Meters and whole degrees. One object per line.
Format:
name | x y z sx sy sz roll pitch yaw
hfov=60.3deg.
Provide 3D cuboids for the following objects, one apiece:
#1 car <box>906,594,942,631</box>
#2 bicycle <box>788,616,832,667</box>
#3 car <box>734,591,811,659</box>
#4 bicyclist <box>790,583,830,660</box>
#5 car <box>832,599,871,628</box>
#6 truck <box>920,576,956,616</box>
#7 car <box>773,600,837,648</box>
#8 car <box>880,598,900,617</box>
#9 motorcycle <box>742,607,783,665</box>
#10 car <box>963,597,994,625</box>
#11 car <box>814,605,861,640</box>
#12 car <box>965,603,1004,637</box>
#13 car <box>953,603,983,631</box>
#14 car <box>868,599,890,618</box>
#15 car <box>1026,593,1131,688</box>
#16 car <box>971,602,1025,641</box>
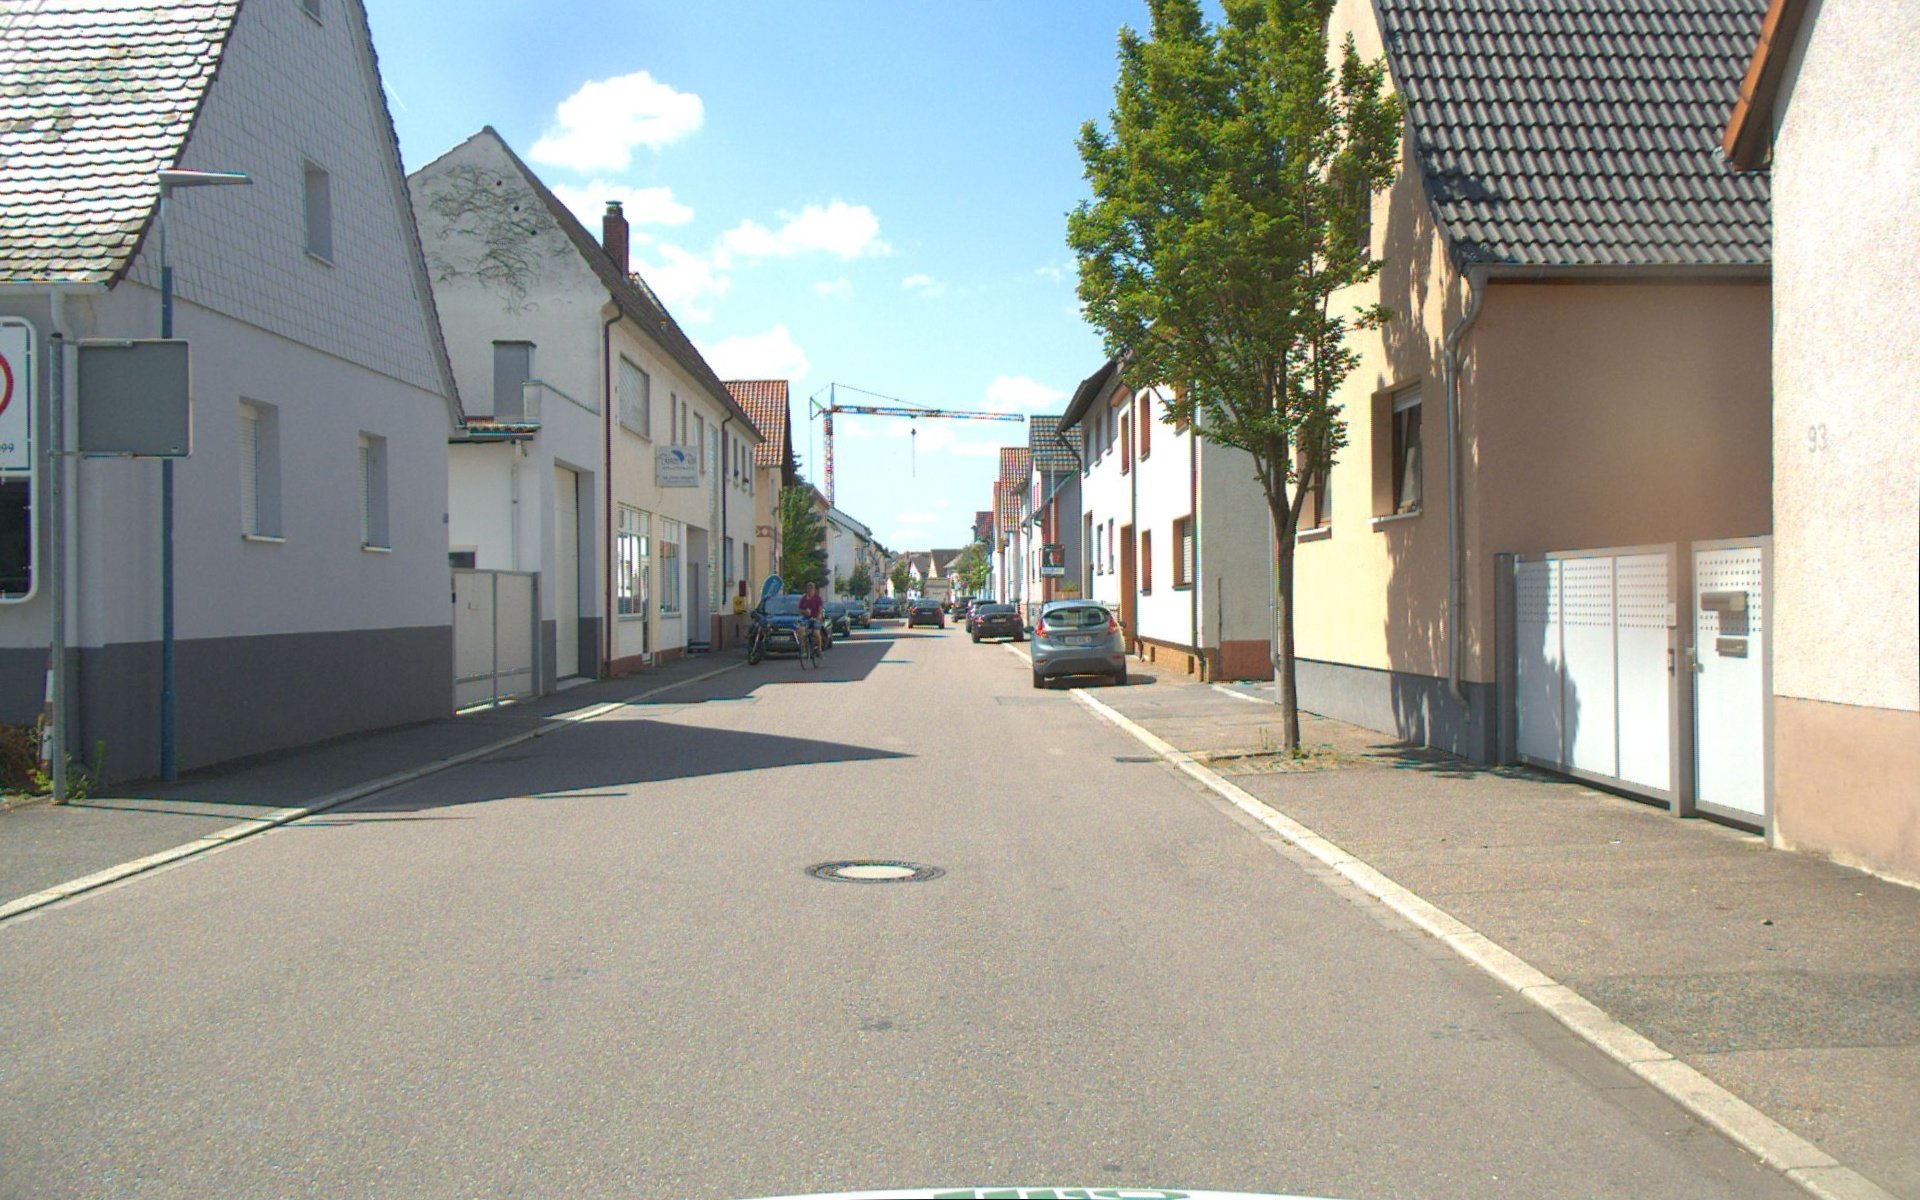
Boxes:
car | -1.848 0.625 84.472 1.747 1.784 3.998 -1 0 -2
bicycle | -3.295 0.901 36.469 0.727 1.066 1.940 0 0 2
car | -4.989 0.643 44.365 1.683 1.668 4.147 -2 0 -2
bicyclist | -3.298 0.465 36.421 0.731 1.665 0.957 0 0 2
car | -5.856 0.721 89.761 1.732 1.485 4.436 0 0 1
truck | -2.365 -0.388 173.148 3.311 3.933 13.919 -1 0 -2
car | -4.820 0.712 52.015 1.663 1.436 4.389 0 0 -1
car | -6.184 0.666 146.055 1.620 1.637 4.059 -1 0 -2
motorcycle | -4.732 0.854 39.737 0.792 1.335 2.105 0 0 -2
car | 1.021 0.613 95.389 1.584 1.522 3.970 -3 0 -1
car | -5.055 0.908 68.842 1.726 1.398 4.065 1 0 -1
car | 1.078 0.895 74.984 1.654 1.447 3.656 -1 0 -1
car | 0.484 1.073 107.353 1.694 1.747 4.273 -1 0 -3
car | -6.813 0.706 139.188 1.723 1.551 4.288 -1 0 -2
car | 2.099 0.680 29.939 1.686 1.507 3.751 -4 0 3
car | 1.311 0.746 58.183 1.778 1.298 4.146 0 0 0
